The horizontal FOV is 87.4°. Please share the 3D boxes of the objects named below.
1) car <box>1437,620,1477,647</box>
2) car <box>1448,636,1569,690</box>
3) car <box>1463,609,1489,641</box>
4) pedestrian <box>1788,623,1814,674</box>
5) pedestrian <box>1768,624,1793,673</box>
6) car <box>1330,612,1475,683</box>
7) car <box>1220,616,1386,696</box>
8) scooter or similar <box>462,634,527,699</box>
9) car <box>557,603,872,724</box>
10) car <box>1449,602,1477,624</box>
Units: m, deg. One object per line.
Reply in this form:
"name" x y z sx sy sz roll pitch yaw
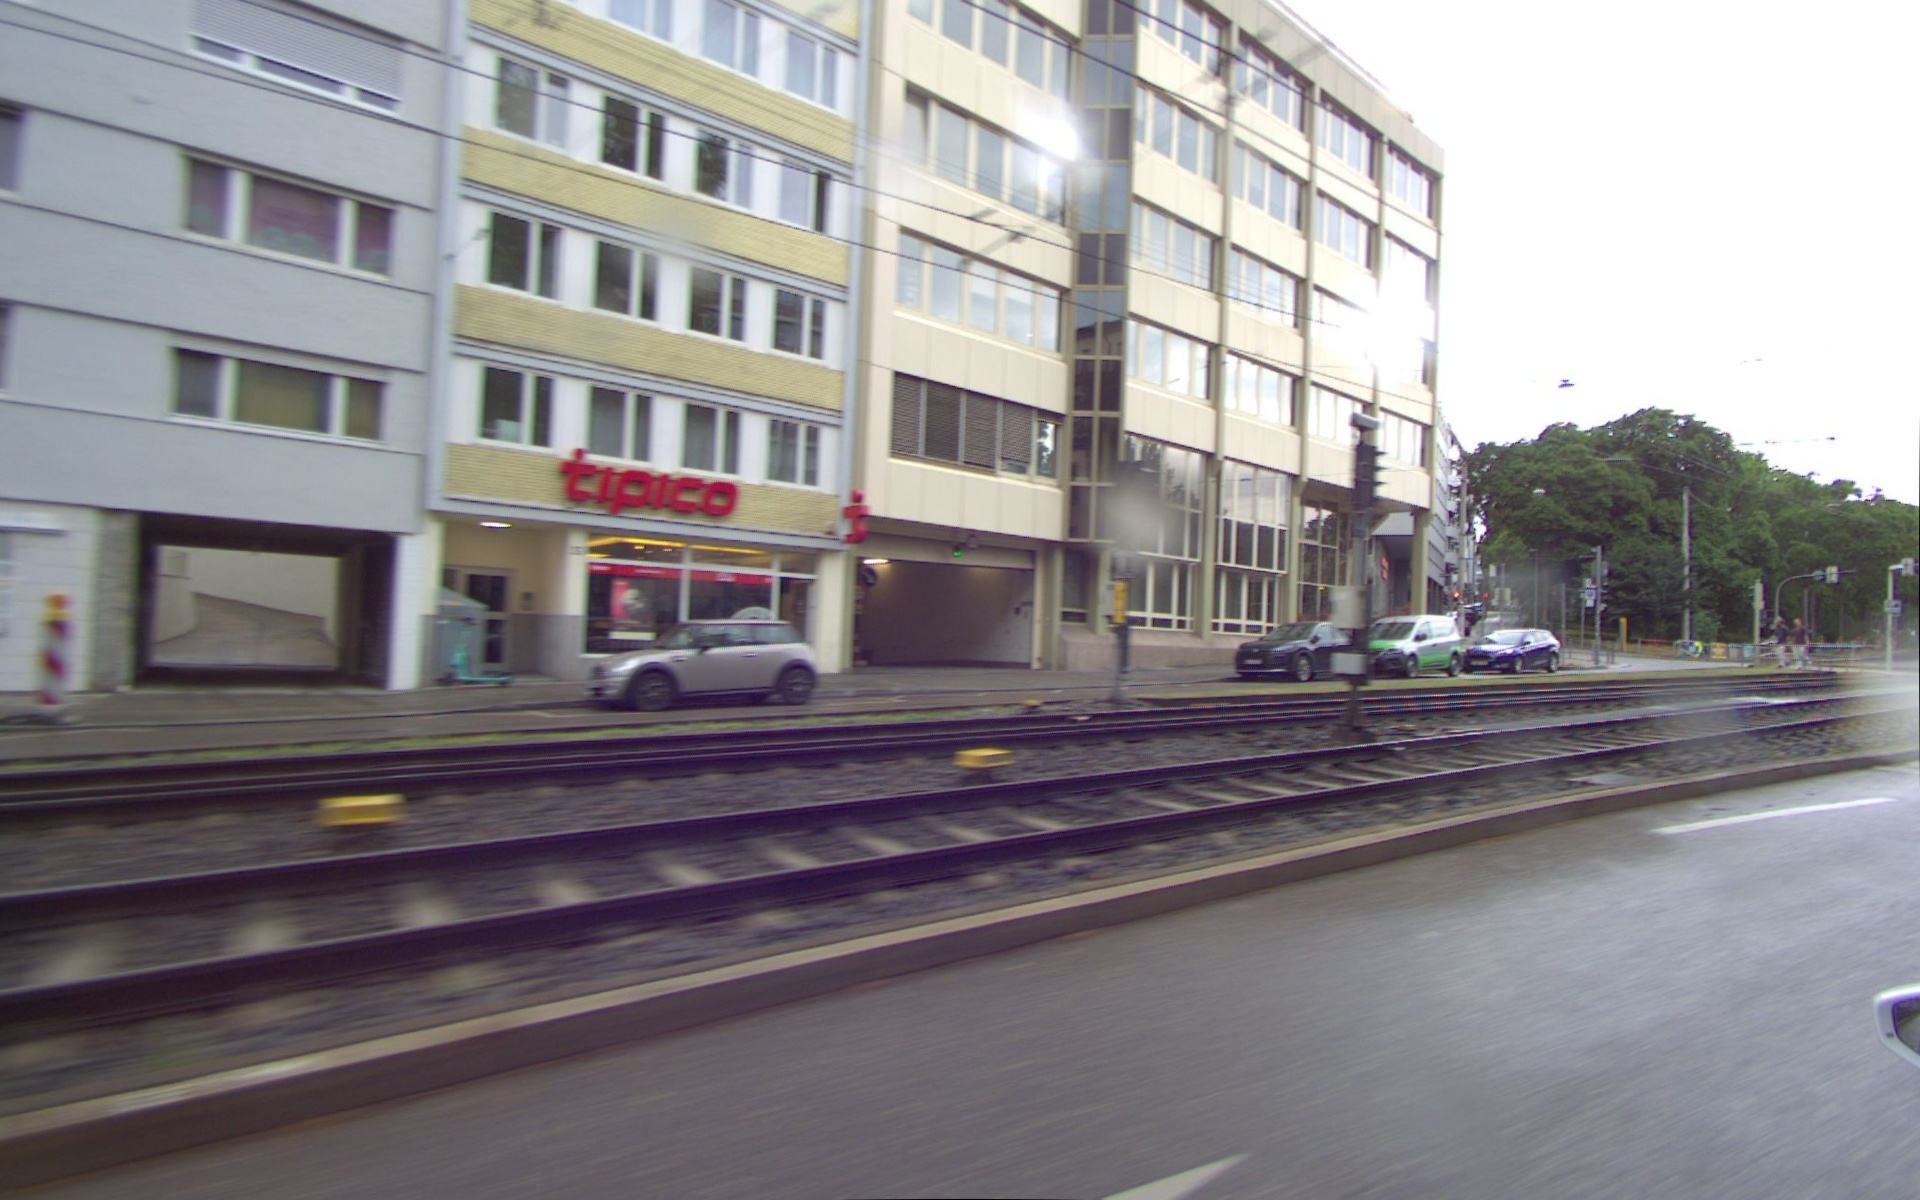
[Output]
"car" 35.495 2.387 71.829 1.960 1.817 4.001 2 0 19
"car" 18.395 2.082 33.610 4.511 1.603 1.977 3 0 -39
"car" 50.958 2.482 99.098 1.965 3.037 4.202 2 0 31
"pedestrian" 30.951 1.769 36.981 0.630 1.811 0.808 2 0 36
"pedestrian" 31.142 1.818 38.128 0.630 1.811 0.808 2 0 36
"car" 13.102 1.403 29.621 4.656 1.874 1.977 3 0 -39
"car" 9.198 1.471 26.776 4.656 1.874 1.977 3 0 -39
"scooter or similar" -8.147 1.146 17.585 0.965 1.046 0.378 -2 3 -38
"car" -3.972 1.006 16.678 4.656 1.696 1.977 3 0 -39
"car" 43.667 1.133 87.197 1.964 1.817 4.203 2 0 29
